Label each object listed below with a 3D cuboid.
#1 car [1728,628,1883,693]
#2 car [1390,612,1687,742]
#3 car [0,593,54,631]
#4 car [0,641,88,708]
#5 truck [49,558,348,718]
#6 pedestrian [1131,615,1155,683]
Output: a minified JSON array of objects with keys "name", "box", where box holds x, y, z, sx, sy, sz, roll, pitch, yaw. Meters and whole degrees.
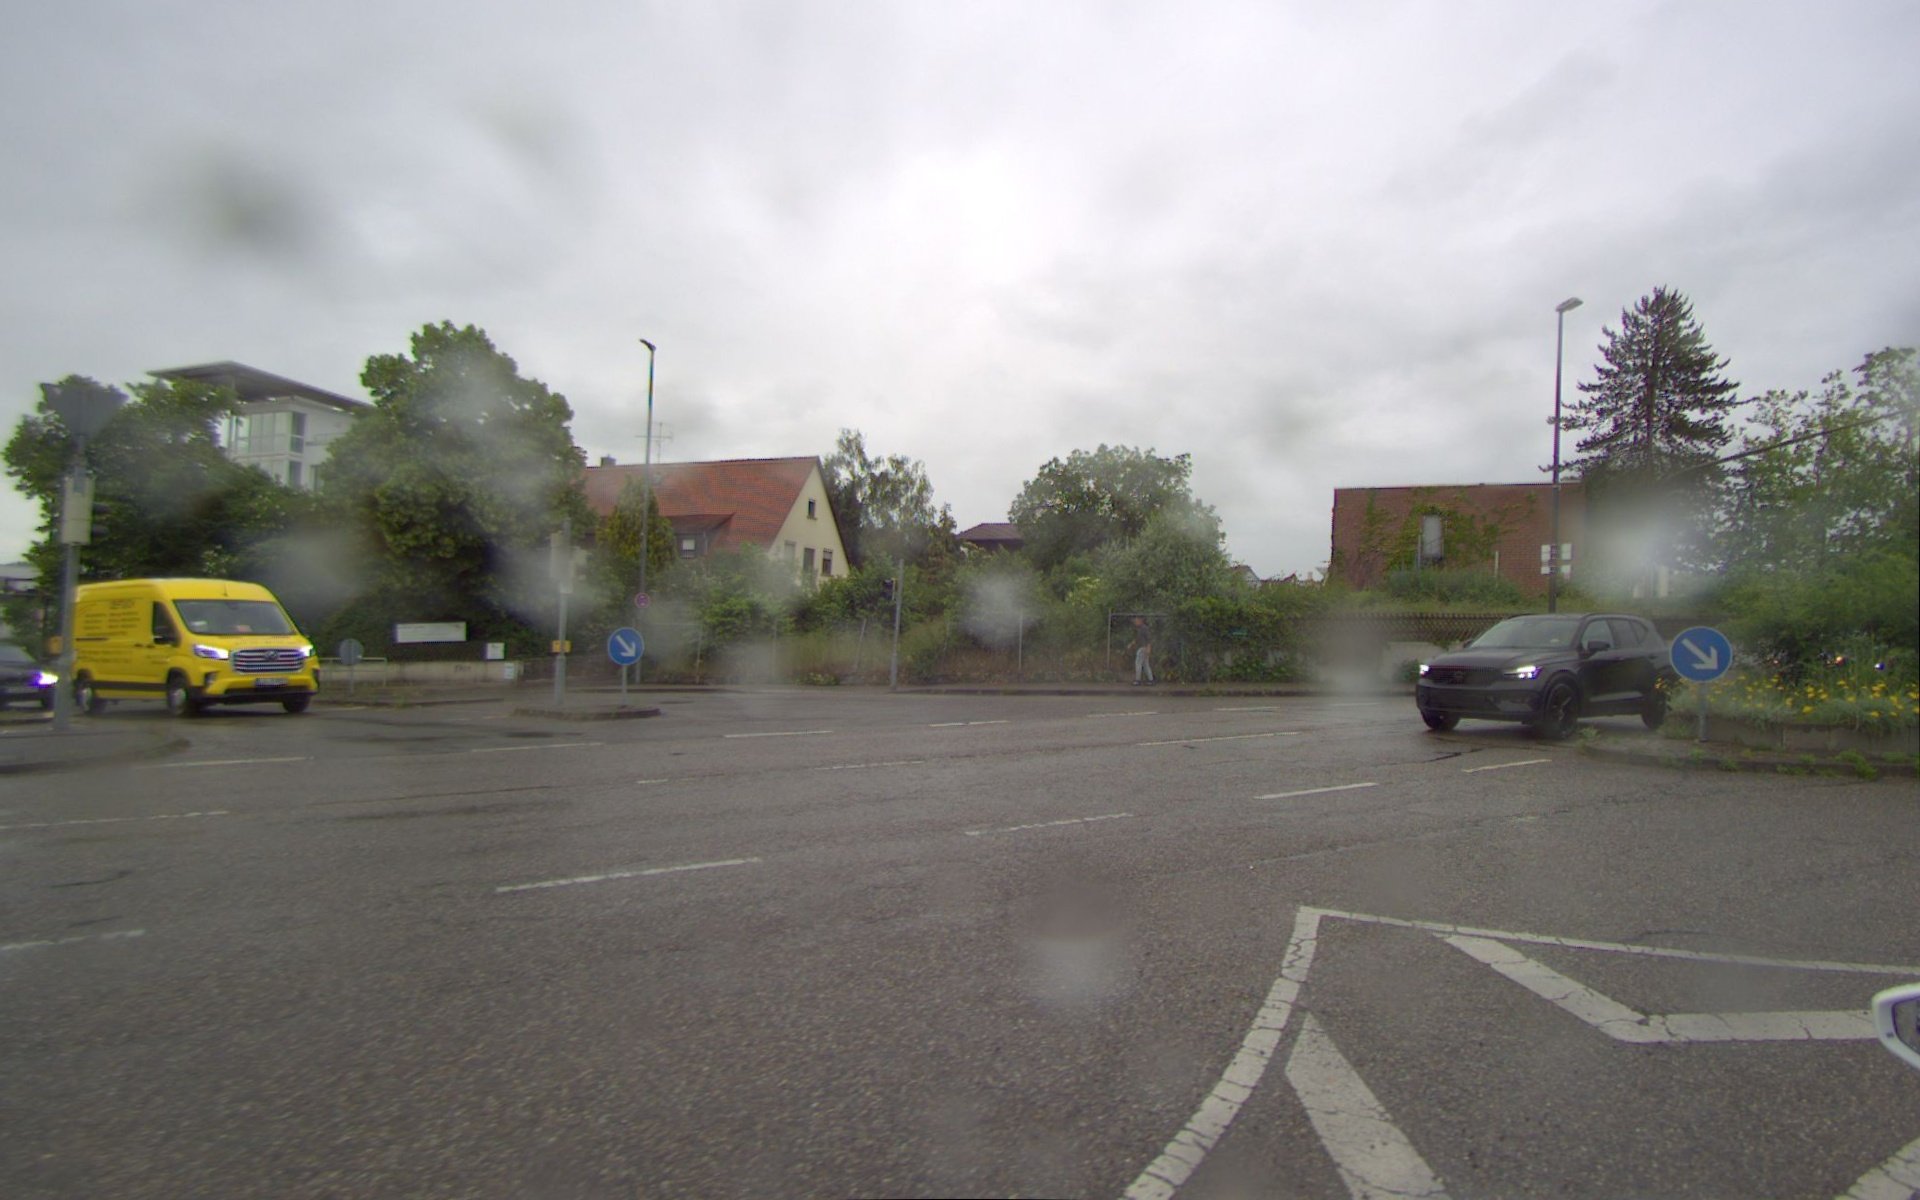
[{"name":"car","box":[22.277,1.546,26.441,3.955,1.599,1.983,1,-2,-32]},{"name":"car","box":[8.066,1.005,13.960,4.028,1.572,1.893,2,-2,-31]},{"name":"car","box":[-53.937,0.672,57.197,3.921,2.040,1.791,2,0,20]},{"name":"car","box":[-20.951,1.566,21.580,4.276,1.335,1.863,-1,-4,27]},{"name":"truck","box":[-14.218,0.748,18.653,6.066,2.571,2.225,-2,-4,30]},{"name":"pedestrian","box":[4.502,1.200,24.731,0.490,1.663,0.553,0,-2,0]}]
